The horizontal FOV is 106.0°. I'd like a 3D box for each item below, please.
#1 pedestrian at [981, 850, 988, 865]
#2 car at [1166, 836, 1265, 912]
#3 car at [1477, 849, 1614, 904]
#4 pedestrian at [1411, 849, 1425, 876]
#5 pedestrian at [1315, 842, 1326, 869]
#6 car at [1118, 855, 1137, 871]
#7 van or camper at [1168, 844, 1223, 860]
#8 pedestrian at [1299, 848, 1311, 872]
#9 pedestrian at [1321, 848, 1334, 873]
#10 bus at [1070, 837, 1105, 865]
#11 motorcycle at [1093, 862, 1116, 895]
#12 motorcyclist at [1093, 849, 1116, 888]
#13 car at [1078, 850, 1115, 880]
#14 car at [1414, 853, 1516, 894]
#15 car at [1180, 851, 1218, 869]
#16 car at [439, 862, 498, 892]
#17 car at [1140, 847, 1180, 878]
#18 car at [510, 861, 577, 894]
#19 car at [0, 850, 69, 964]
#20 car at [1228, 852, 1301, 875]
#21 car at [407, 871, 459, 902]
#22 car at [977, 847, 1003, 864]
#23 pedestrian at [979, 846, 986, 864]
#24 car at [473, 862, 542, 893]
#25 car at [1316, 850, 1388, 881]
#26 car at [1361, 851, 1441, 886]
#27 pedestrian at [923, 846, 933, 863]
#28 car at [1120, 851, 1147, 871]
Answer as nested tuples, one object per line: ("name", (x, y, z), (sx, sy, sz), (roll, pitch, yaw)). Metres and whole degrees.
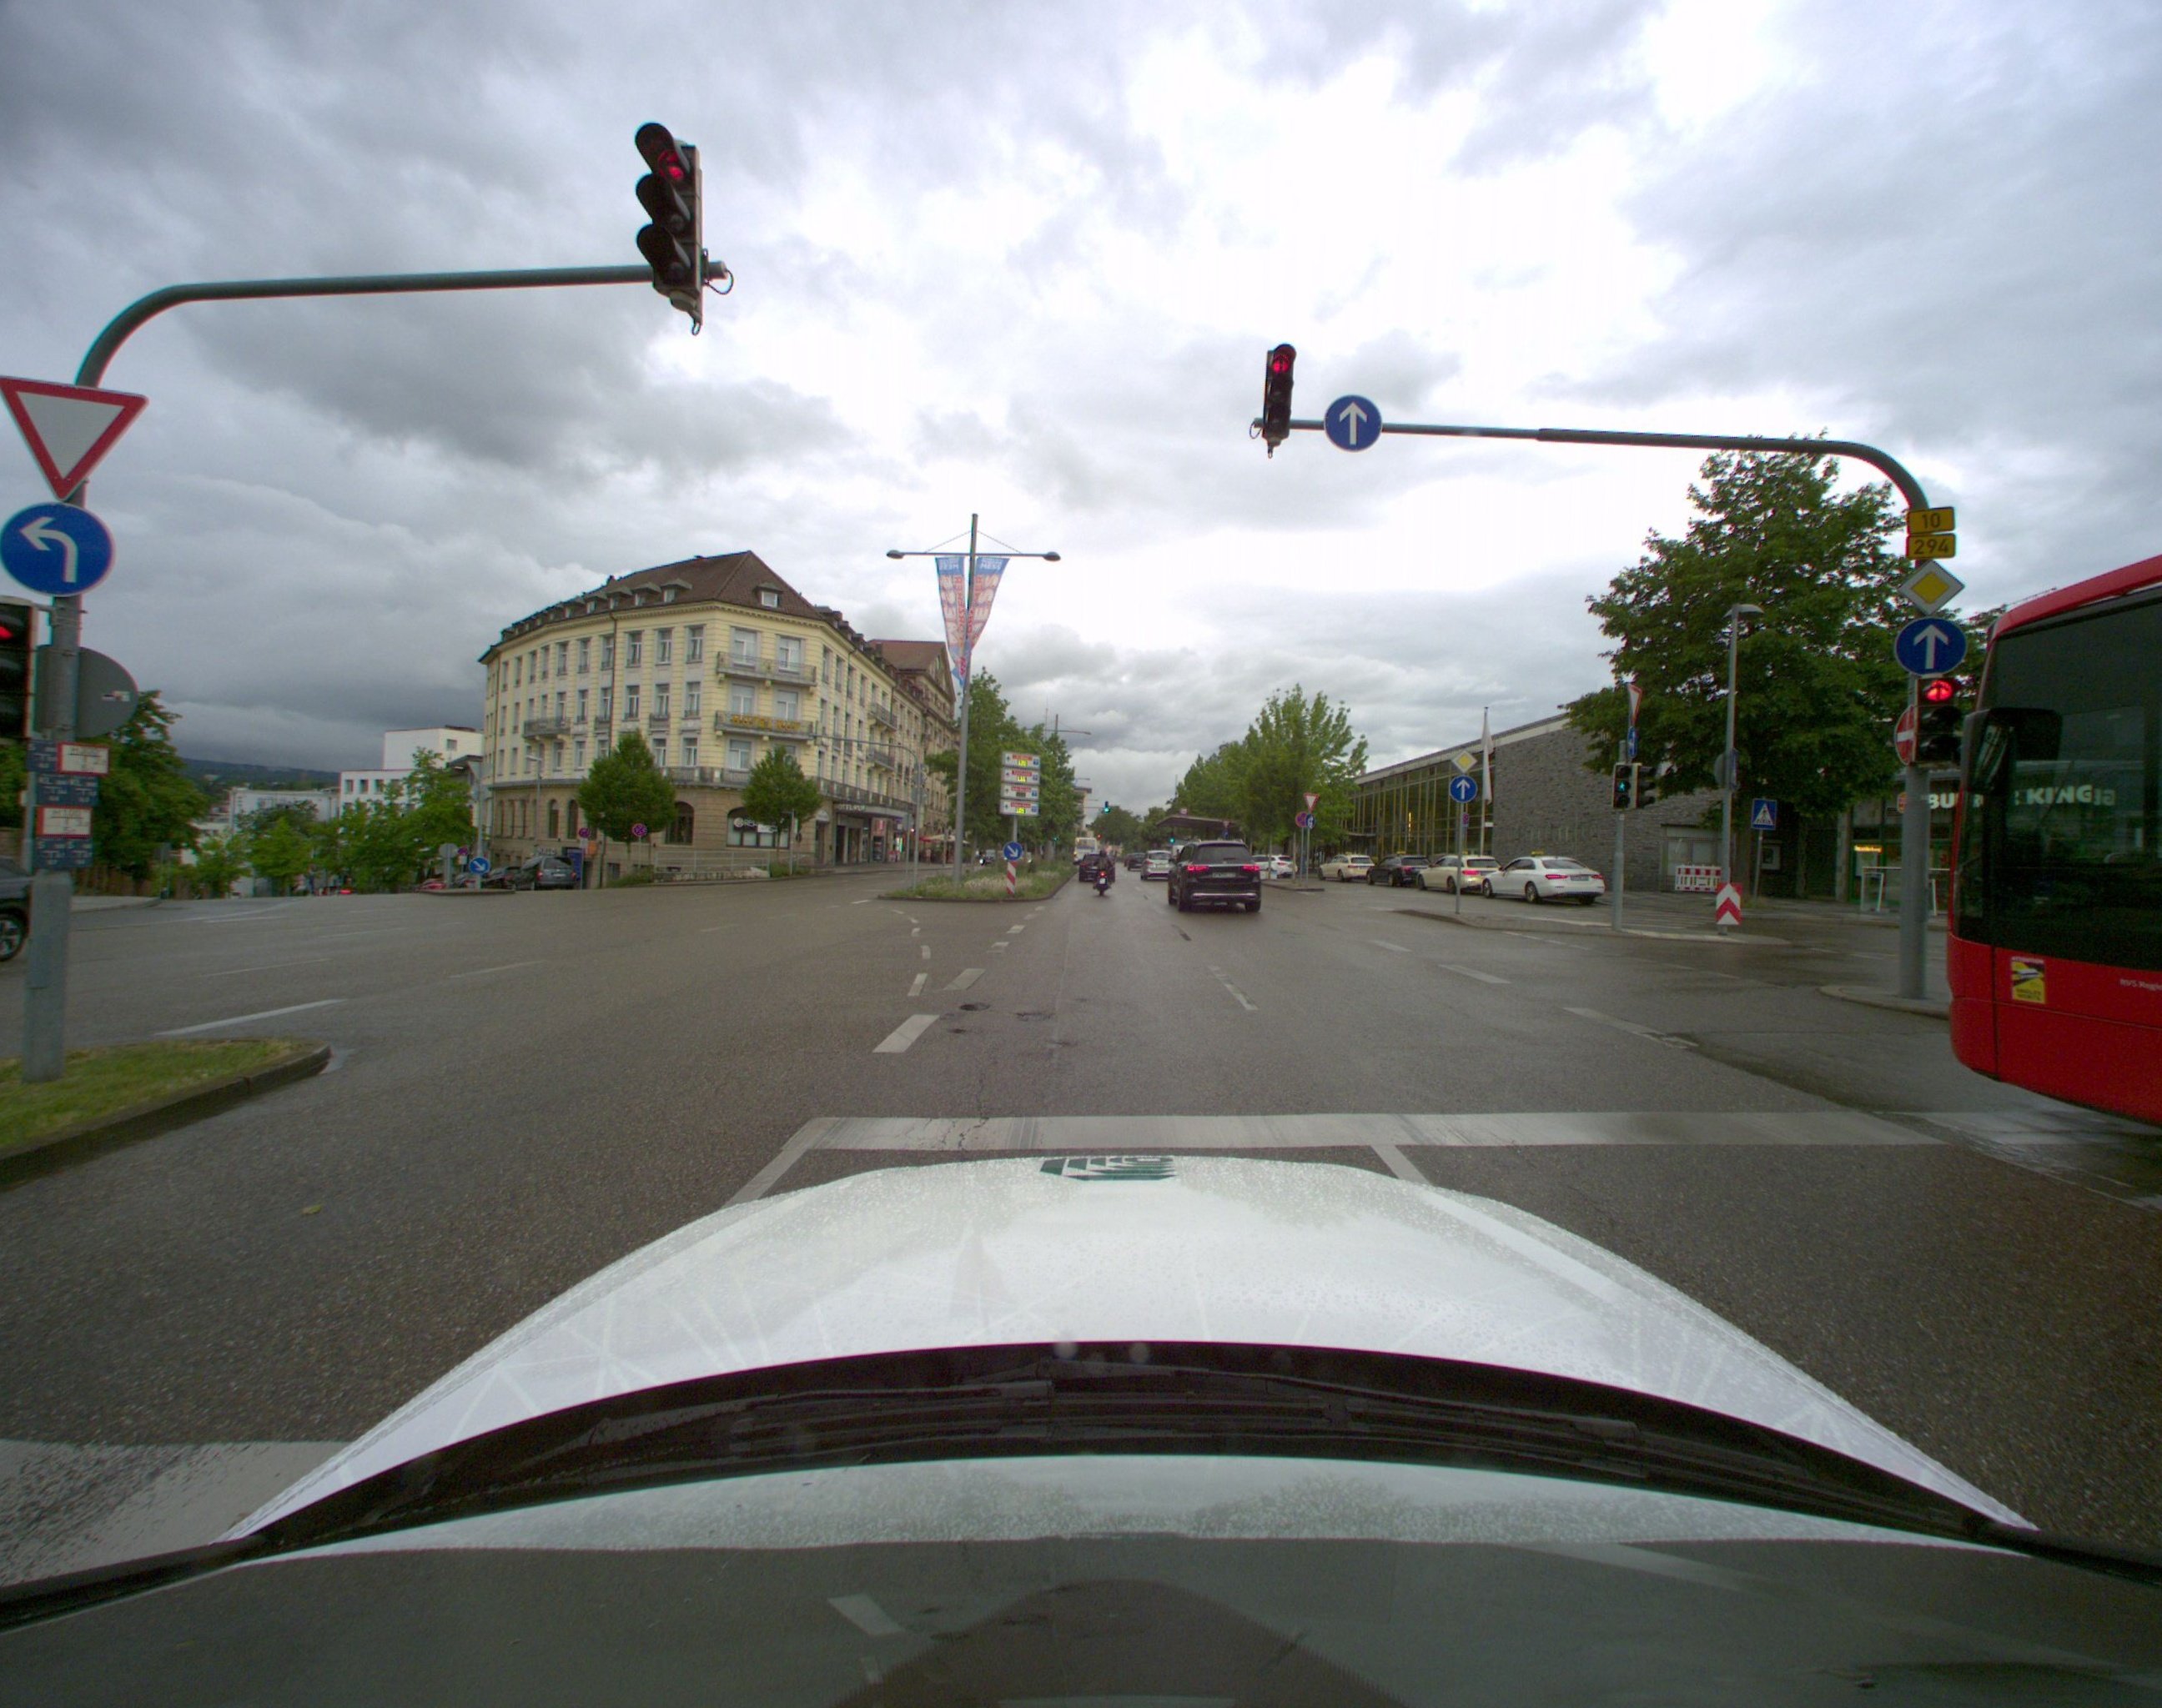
("pedestrian", (-10.820, 0.399, 91.044), (0.672, 1.701, 0.634), (-1, 0, 1))
("car", (3.421, 0.456, 21.622), (1.986, 1.806, 4.691), (0, 0, 2))
("car", (14.629, 0.659, 25.965), (1.768, 1.589, 4.615), (0, 0, 0))
("pedestrian", (20.457, 0.532, 49.451), (0.563, 1.646, 0.715), (0, 0, -3))
("pedestrian", (21.644, 0.171, 73.552), (0.839, 2.411, 0.863), (0, 0, 3))
("car", (5.065, 0.965, 88.821), (1.804, 1.642, 3.903), (0, 0, 0))
("van or camper", (14.481, -0.193, 103.140), (6.787, 2.014, 2.366), (0, -1, -25))
("pedestrian", (19.199, 0.532, 69.829), (0.767, 2.013, 0.828), (0, 0, 0))
("pedestrian", (19.932, 0.496, 65.824), (0.767, 2.013, 0.828), (0, 0, 0))
("bus", (0.667, -0.360, 100.699), (3.750, 3.209, 15.514), (0, 0, -2))
("motorcycle", (0.811, 0.826, 28.198), (0.763, 1.077, 2.176), (0, 0, 2))
("motorcyclist", (0.809, 0.505, 28.251), (0.761, 1.331, 0.867), (0, 0, 2))
("car", (0.788, 0.515, 40.213), (1.702, 1.448, 4.002), (0, 0, 2))
("car", (14.767, 0.694, 31.622), (1.840, 1.452, 4.666), (0, 0, 0))
("car", (13.983, 0.716, 96.809), (3.998, 2.013, 1.988), (0, 0, -18))
("car", (-36.337, 1.346, 48.326), (3.864, 1.640, 1.805), (0, 0, 37))
("car", (4.170, 0.448, 43.478), (1.844, 1.567, 4.002), (0, 0, 2))
("car", (-27.123, 1.150, 41.066), (3.949, 1.568, 1.812), (0, 0, 41))
("car", (-16.030, 0.760, 10.283), (1.826, 1.640, 4.572), (1, 0, -18))
("car", (11.486, 0.582, 51.249), (1.788, 1.385, 4.318), (0, 0, -39))
("car", (-41.214, 2.052, 51.786), (3.575, 1.812, 1.788), (0, 0, 38))
("car", (-8.685, 0.142, 78.198), (1.763, 1.530, 4.083), (0, 0, 4))
("pedestrian", (-11.010, 0.140, 91.053), (0.756, 2.013, 0.832), (0, 0, -5))
("car", (-31.994, 1.280, 45.405), (3.948, 1.640, 2.013), (-1, -1, 37))
("car", (14.658, 0.600, 44.405), (1.990, 1.600, 4.814), (0, 0, -5))
("car", (14.864, 0.615, 38.094), (1.907, 1.524, 4.741), (0, 0, 0))
("pedestrian", (-13.772, 0.034, 73.316), (0.666, 1.510, 0.513), (0, 0, -36))
("car", (4.283, 0.578, 67.170), (1.806, 1.581, 3.900), (0, 0, -3))
